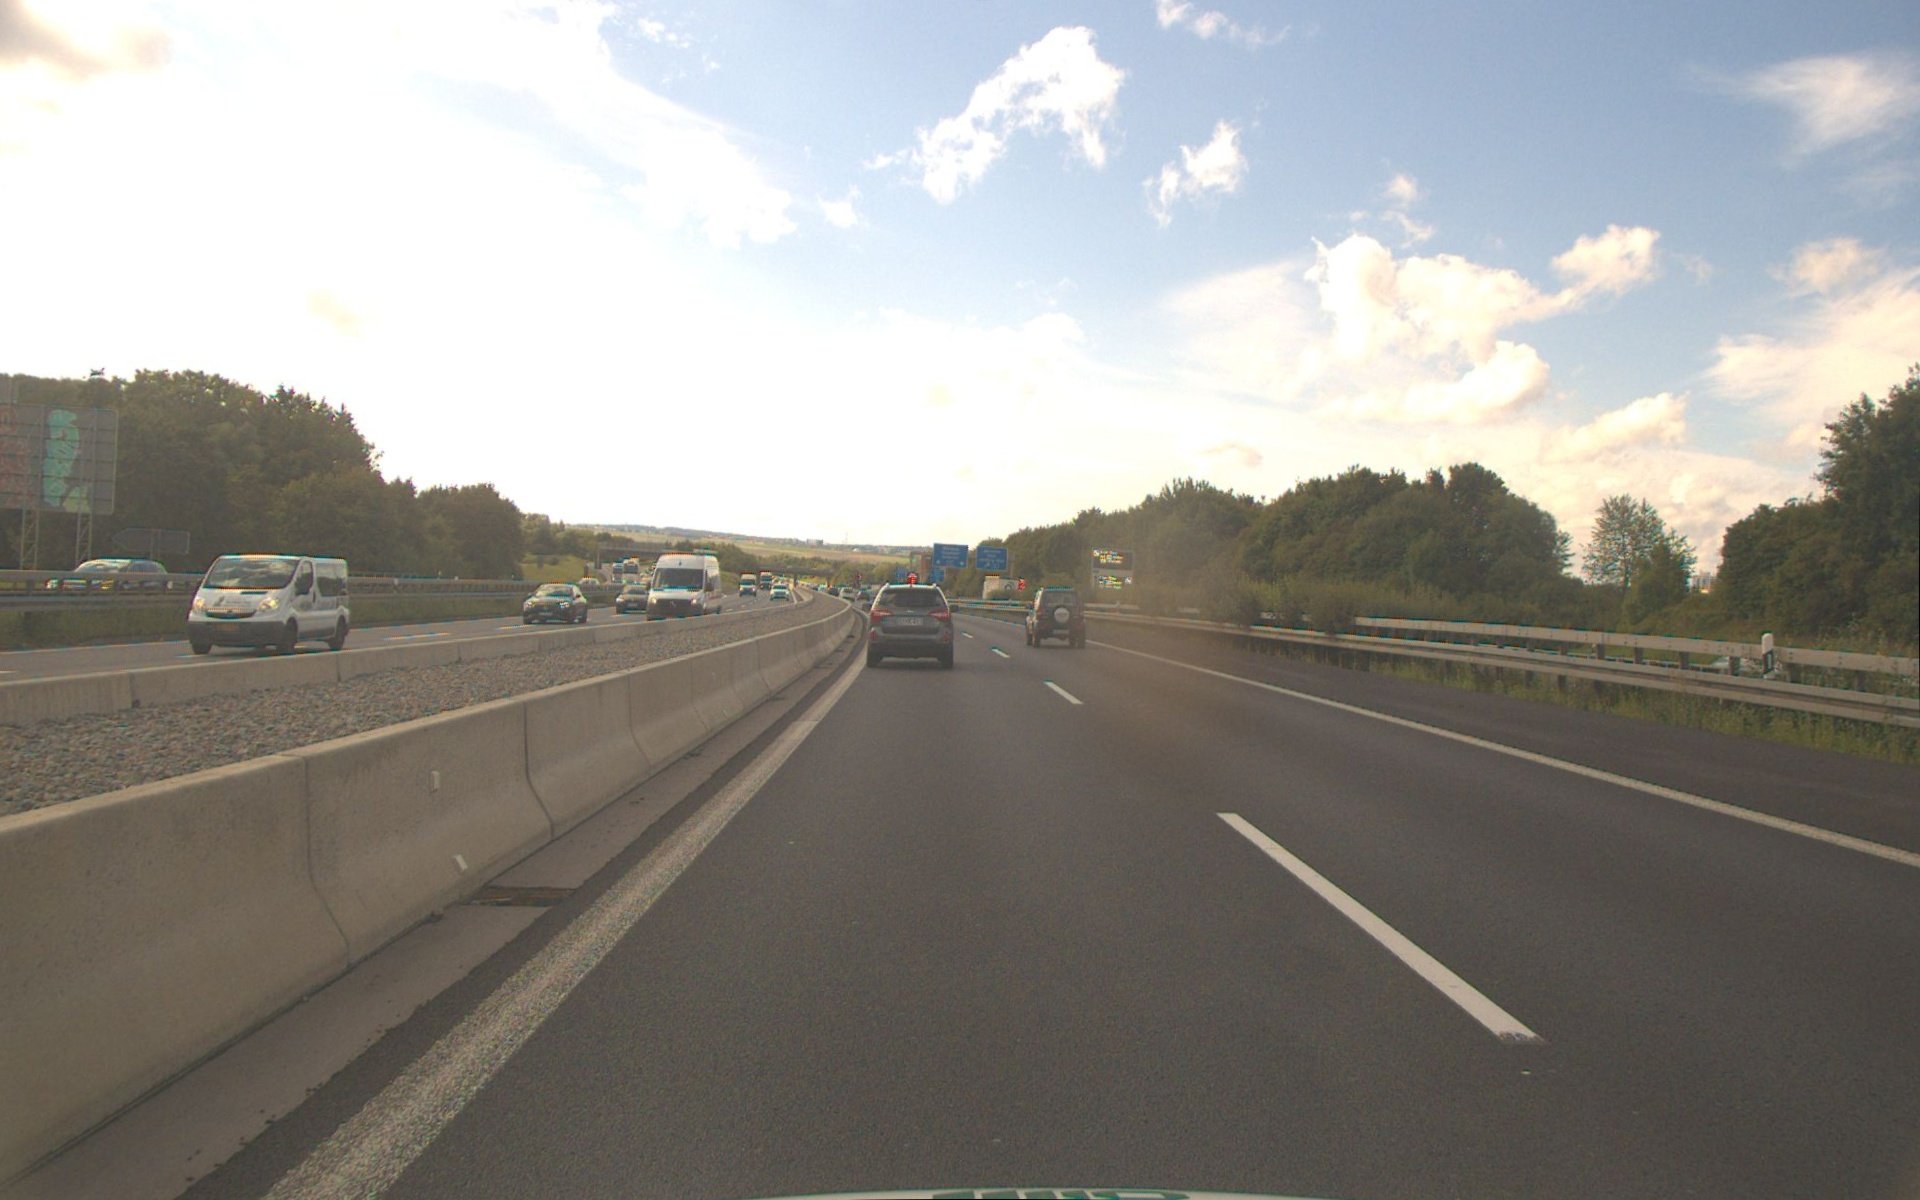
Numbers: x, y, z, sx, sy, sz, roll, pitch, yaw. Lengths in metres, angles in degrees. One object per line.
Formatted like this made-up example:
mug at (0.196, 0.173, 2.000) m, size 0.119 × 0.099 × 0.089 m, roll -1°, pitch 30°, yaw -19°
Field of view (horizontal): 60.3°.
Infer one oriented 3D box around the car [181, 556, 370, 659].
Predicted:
car at (-13.999, 0.134, 34.203) m, size 1.876 × 1.939 × 5.284 m, roll 1°, pitch 0°, yaw -2°

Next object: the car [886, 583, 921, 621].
car at (-3.346, 0.112, 98.989) m, size 1.989 × 2.189 × 3.999 m, roll 1°, pitch 0°, yaw -1°

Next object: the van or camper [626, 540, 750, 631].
van or camper at (-9.601, -0.499, 59.253) m, size 3.268 × 2.967 × 7.464 m, roll 2°, pitch 0°, yaw -1°

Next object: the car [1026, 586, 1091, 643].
car at (2.959, 0.418, 50.238) m, size 1.555 × 1.625 × 4.094 m, roll 2°, pitch 0°, yaw -2°

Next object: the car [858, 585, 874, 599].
car at (-14.102, -1.133, 248.768) m, size 1.956 × 1.963 × 3.992 m, roll 2°, pitch -1°, yaw -9°

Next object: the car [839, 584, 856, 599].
car at (-14.316, -1.034, 210.454) m, size 1.955 × 1.713 × 3.994 m, roll 2°, pitch -1°, yaw -6°

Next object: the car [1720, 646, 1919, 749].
car at (15.612, 1.708, 29.911) m, size 1.748 × 1.599 × 4.023 m, roll 2°, pitch 0°, yaw -2°

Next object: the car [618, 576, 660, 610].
car at (-17.334, -0.391, 89.394) m, size 1.691 × 1.729 × 4.149 m, roll 1°, pitch 0°, yaw -4°

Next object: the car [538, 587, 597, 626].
car at (-15.603, 0.229, 65.930) m, size 1.751 × 1.442 × 4.987 m, roll 2°, pitch 0°, yaw -8°

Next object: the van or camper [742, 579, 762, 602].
van or camper at (-25.266, -1.116, 200.955) m, size 1.947 × 2.670 × 6.857 m, roll 2°, pitch 0°, yaw -4°

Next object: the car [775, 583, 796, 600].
car at (-17.458, -0.848, 165.735) m, size 1.806 × 1.639 × 5.132 m, roll 2°, pitch 0°, yaw -3°

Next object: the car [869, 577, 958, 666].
car at (-1.054, 0.468, 36.255) m, size 1.781 × 1.766 × 5.184 m, roll 1°, pitch -1°, yaw -2°

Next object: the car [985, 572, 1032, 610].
car at (6.071, -1.073, 208.617) m, size 4.635 × 4.341 × 11.392 m, roll 2°, pitch -1°, yaw -4°
